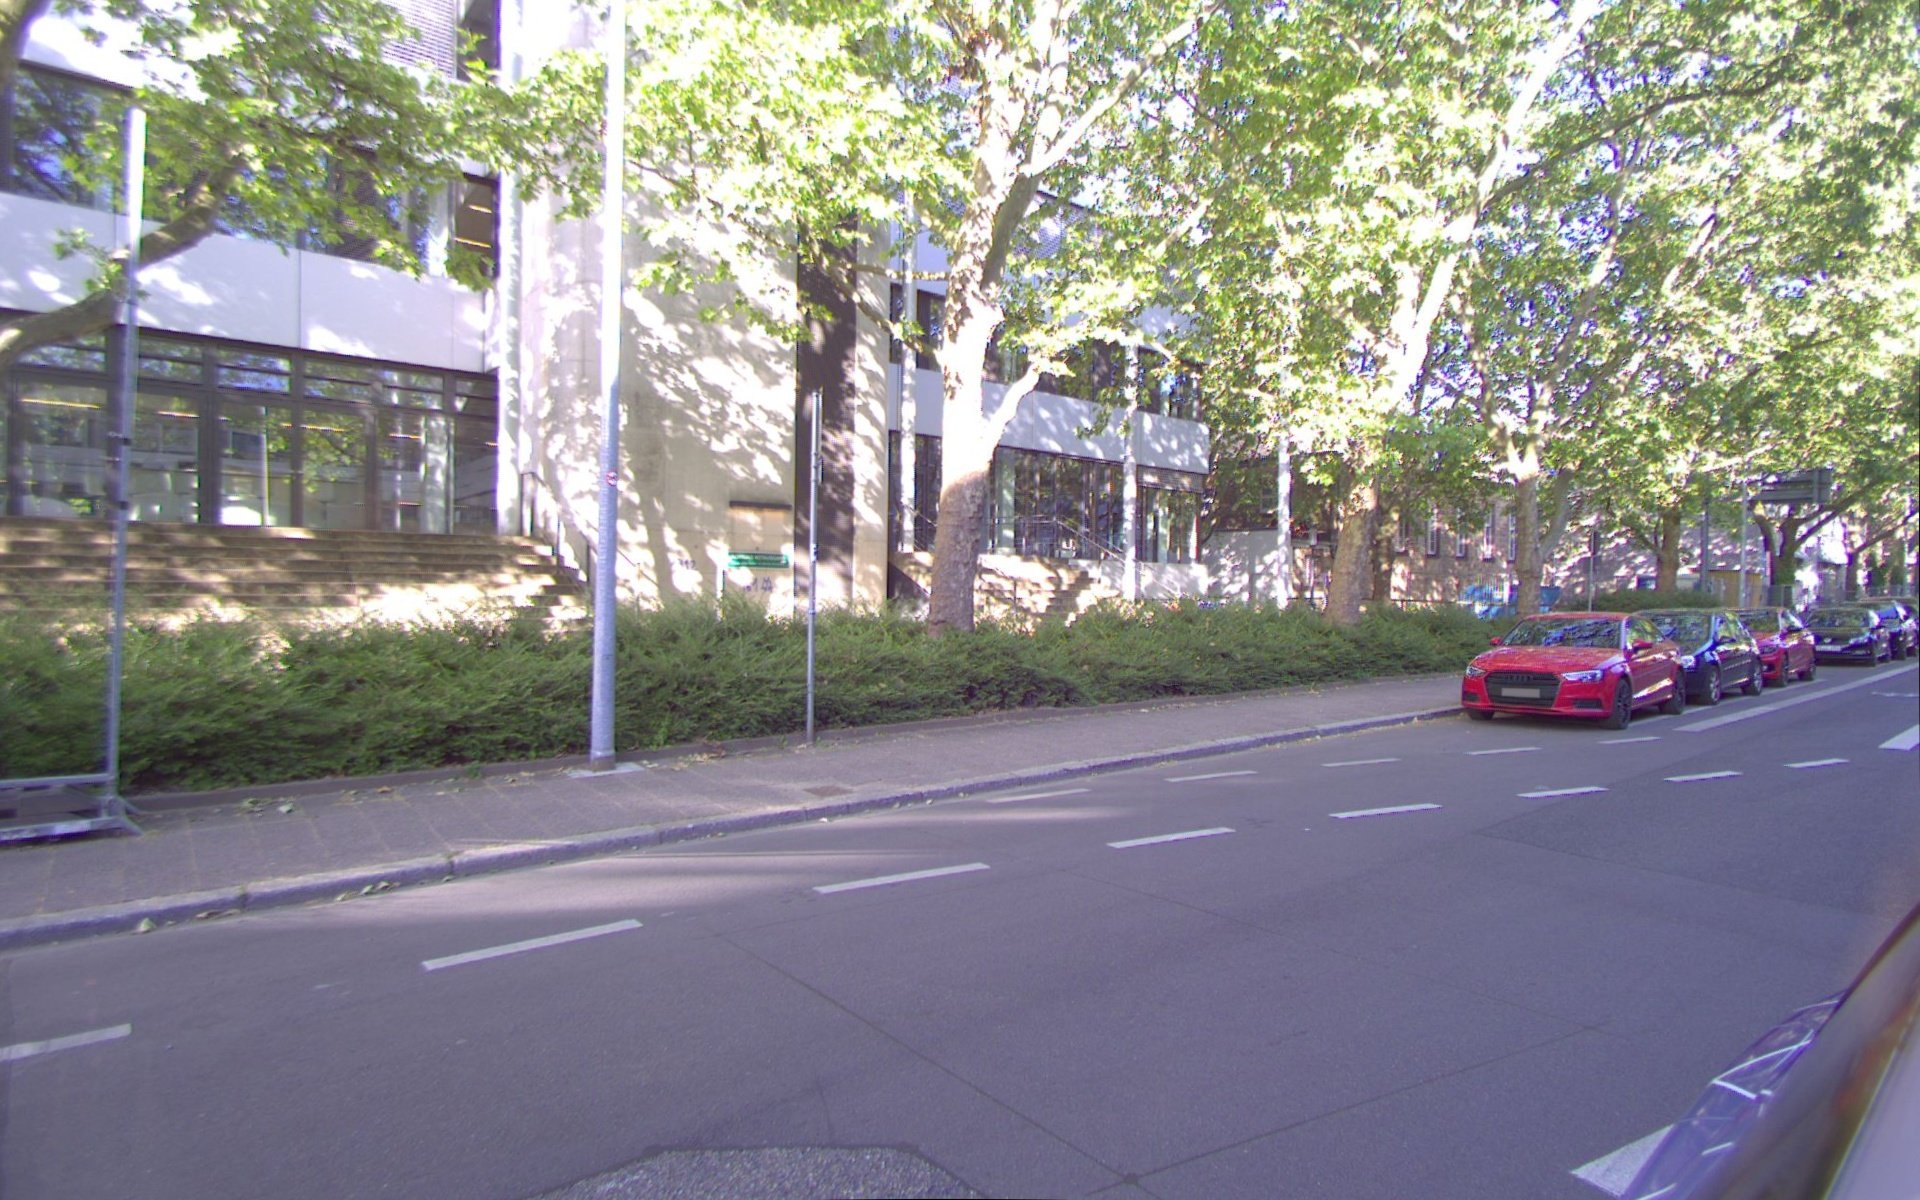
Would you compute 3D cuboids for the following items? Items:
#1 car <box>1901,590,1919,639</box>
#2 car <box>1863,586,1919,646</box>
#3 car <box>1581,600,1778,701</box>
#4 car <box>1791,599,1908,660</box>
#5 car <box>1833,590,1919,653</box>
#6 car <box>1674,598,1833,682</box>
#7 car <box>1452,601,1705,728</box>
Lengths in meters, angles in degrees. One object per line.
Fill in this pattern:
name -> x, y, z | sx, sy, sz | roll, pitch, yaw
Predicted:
car -> 36.200, 0.519, 37.271 | 4.370, 1.750, 1.753 | 0, -1, -41
car -> 30.977, 0.489, 32.974 | 4.370, 1.843, 1.753 | 0, -1, -41
car -> 11.856, 0.741, 16.596 | 3.841, 1.451, 1.753 | 0, -1, -41
car -> 22.953, 0.718, 26.071 | 3.841, 1.451, 1.753 | 0, -1, -41
car -> 26.720, 0.588, 29.184 | 4.101, 1.674, 1.753 | 0, -1, -41
car -> 15.708, 0.723, 19.973 | 3.841, 1.486, 1.753 | 0, -1, -41
car -> 8.289, 0.743, 13.441 | 3.930, 1.427, 1.753 | 0, -1, -41
